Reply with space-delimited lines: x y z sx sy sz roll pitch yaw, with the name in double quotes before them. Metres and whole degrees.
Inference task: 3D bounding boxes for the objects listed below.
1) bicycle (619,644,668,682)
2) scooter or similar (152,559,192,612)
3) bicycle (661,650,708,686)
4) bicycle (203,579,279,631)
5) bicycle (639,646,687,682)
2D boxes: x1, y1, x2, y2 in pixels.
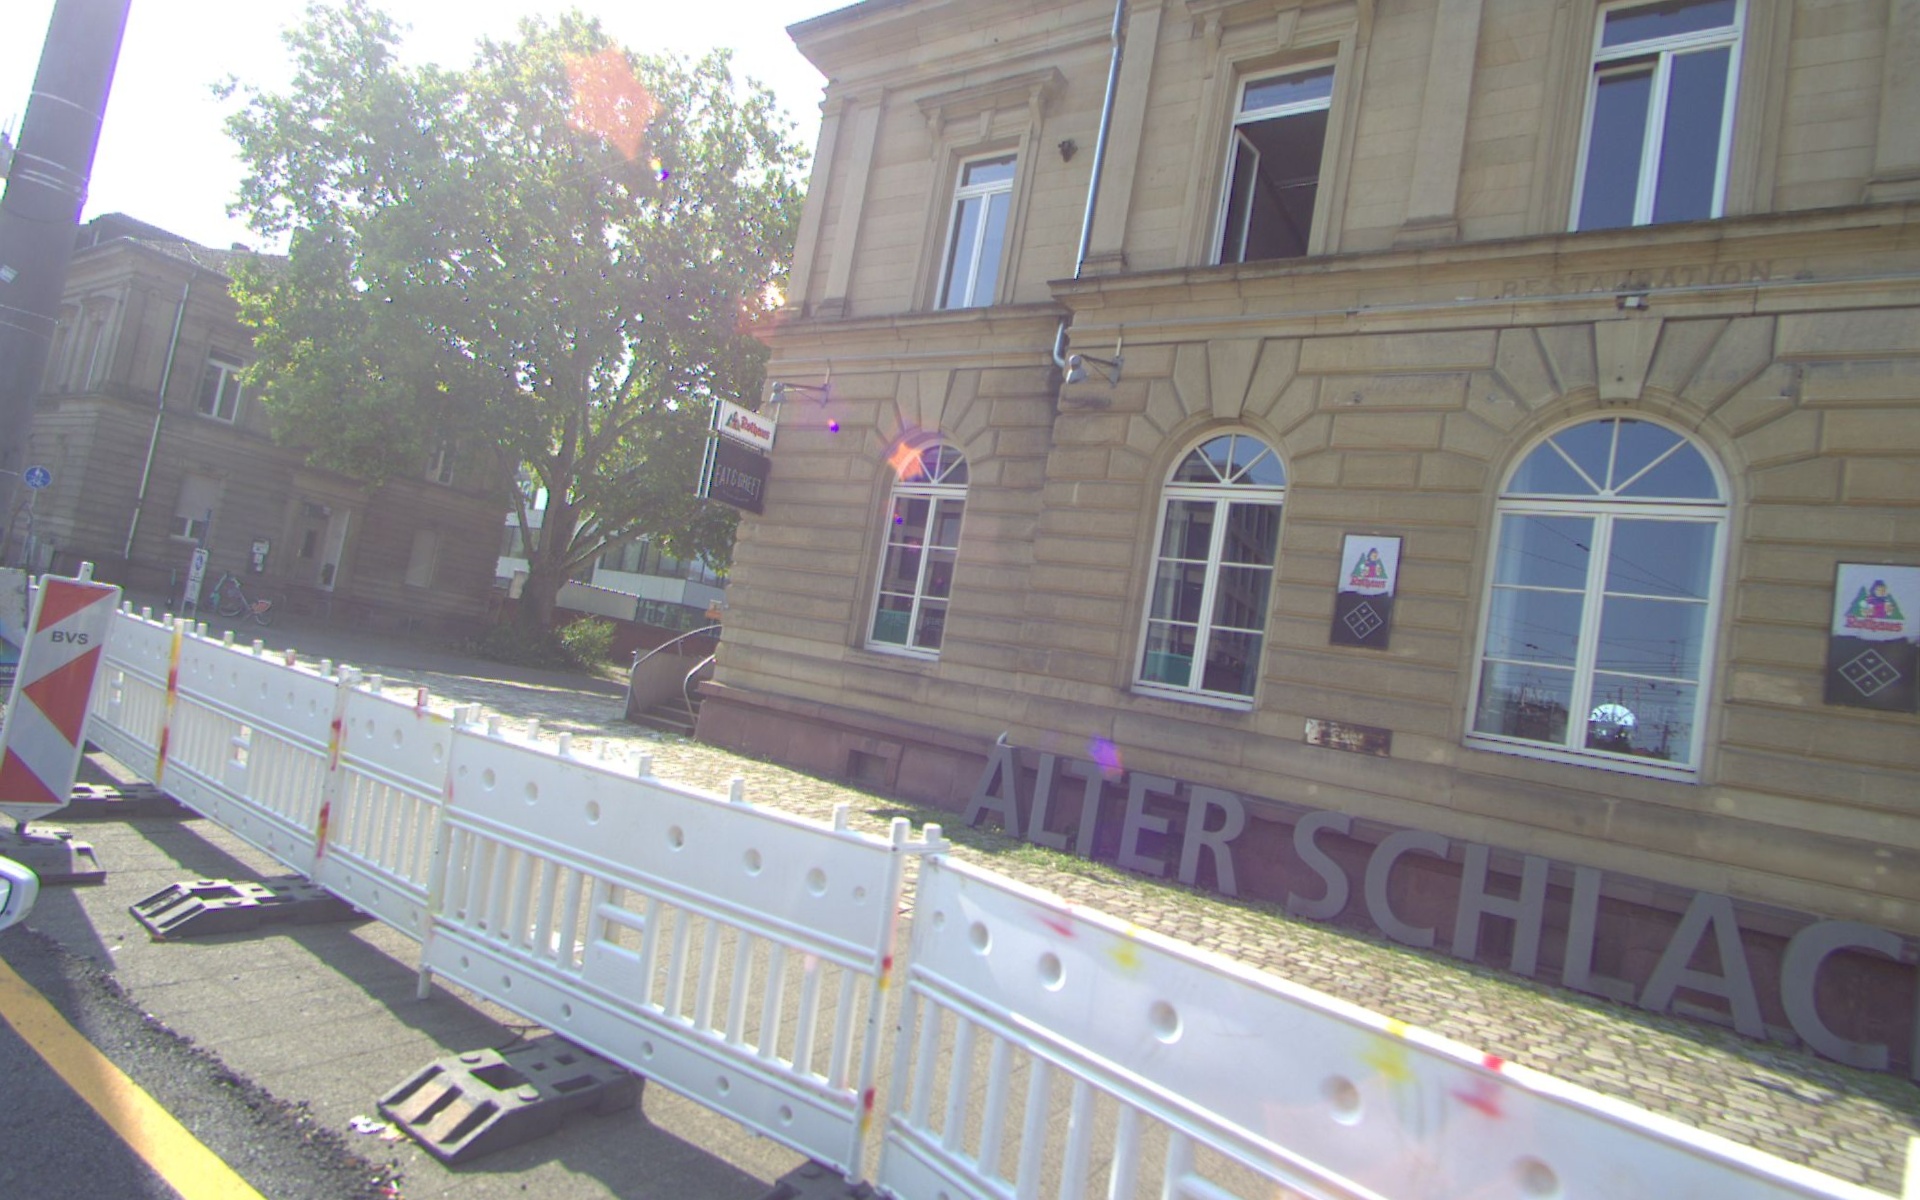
"bicycle" -11.959 2.374 37.982 1.826 1.099 0.493 7 -5 31
"scooter or similar" -20.780 -0.390 26.514 1.157 1.240 0.426 6 -5 41
"bicycle" -10.873 2.675 39.653 1.826 1.099 0.493 7 -5 31
"bicycle" -19.412 0.143 27.155 1.784 1.009 0.494 11 -4 15
"bicycle" -11.482 2.476 38.838 1.826 1.099 0.493 7 -5 31
